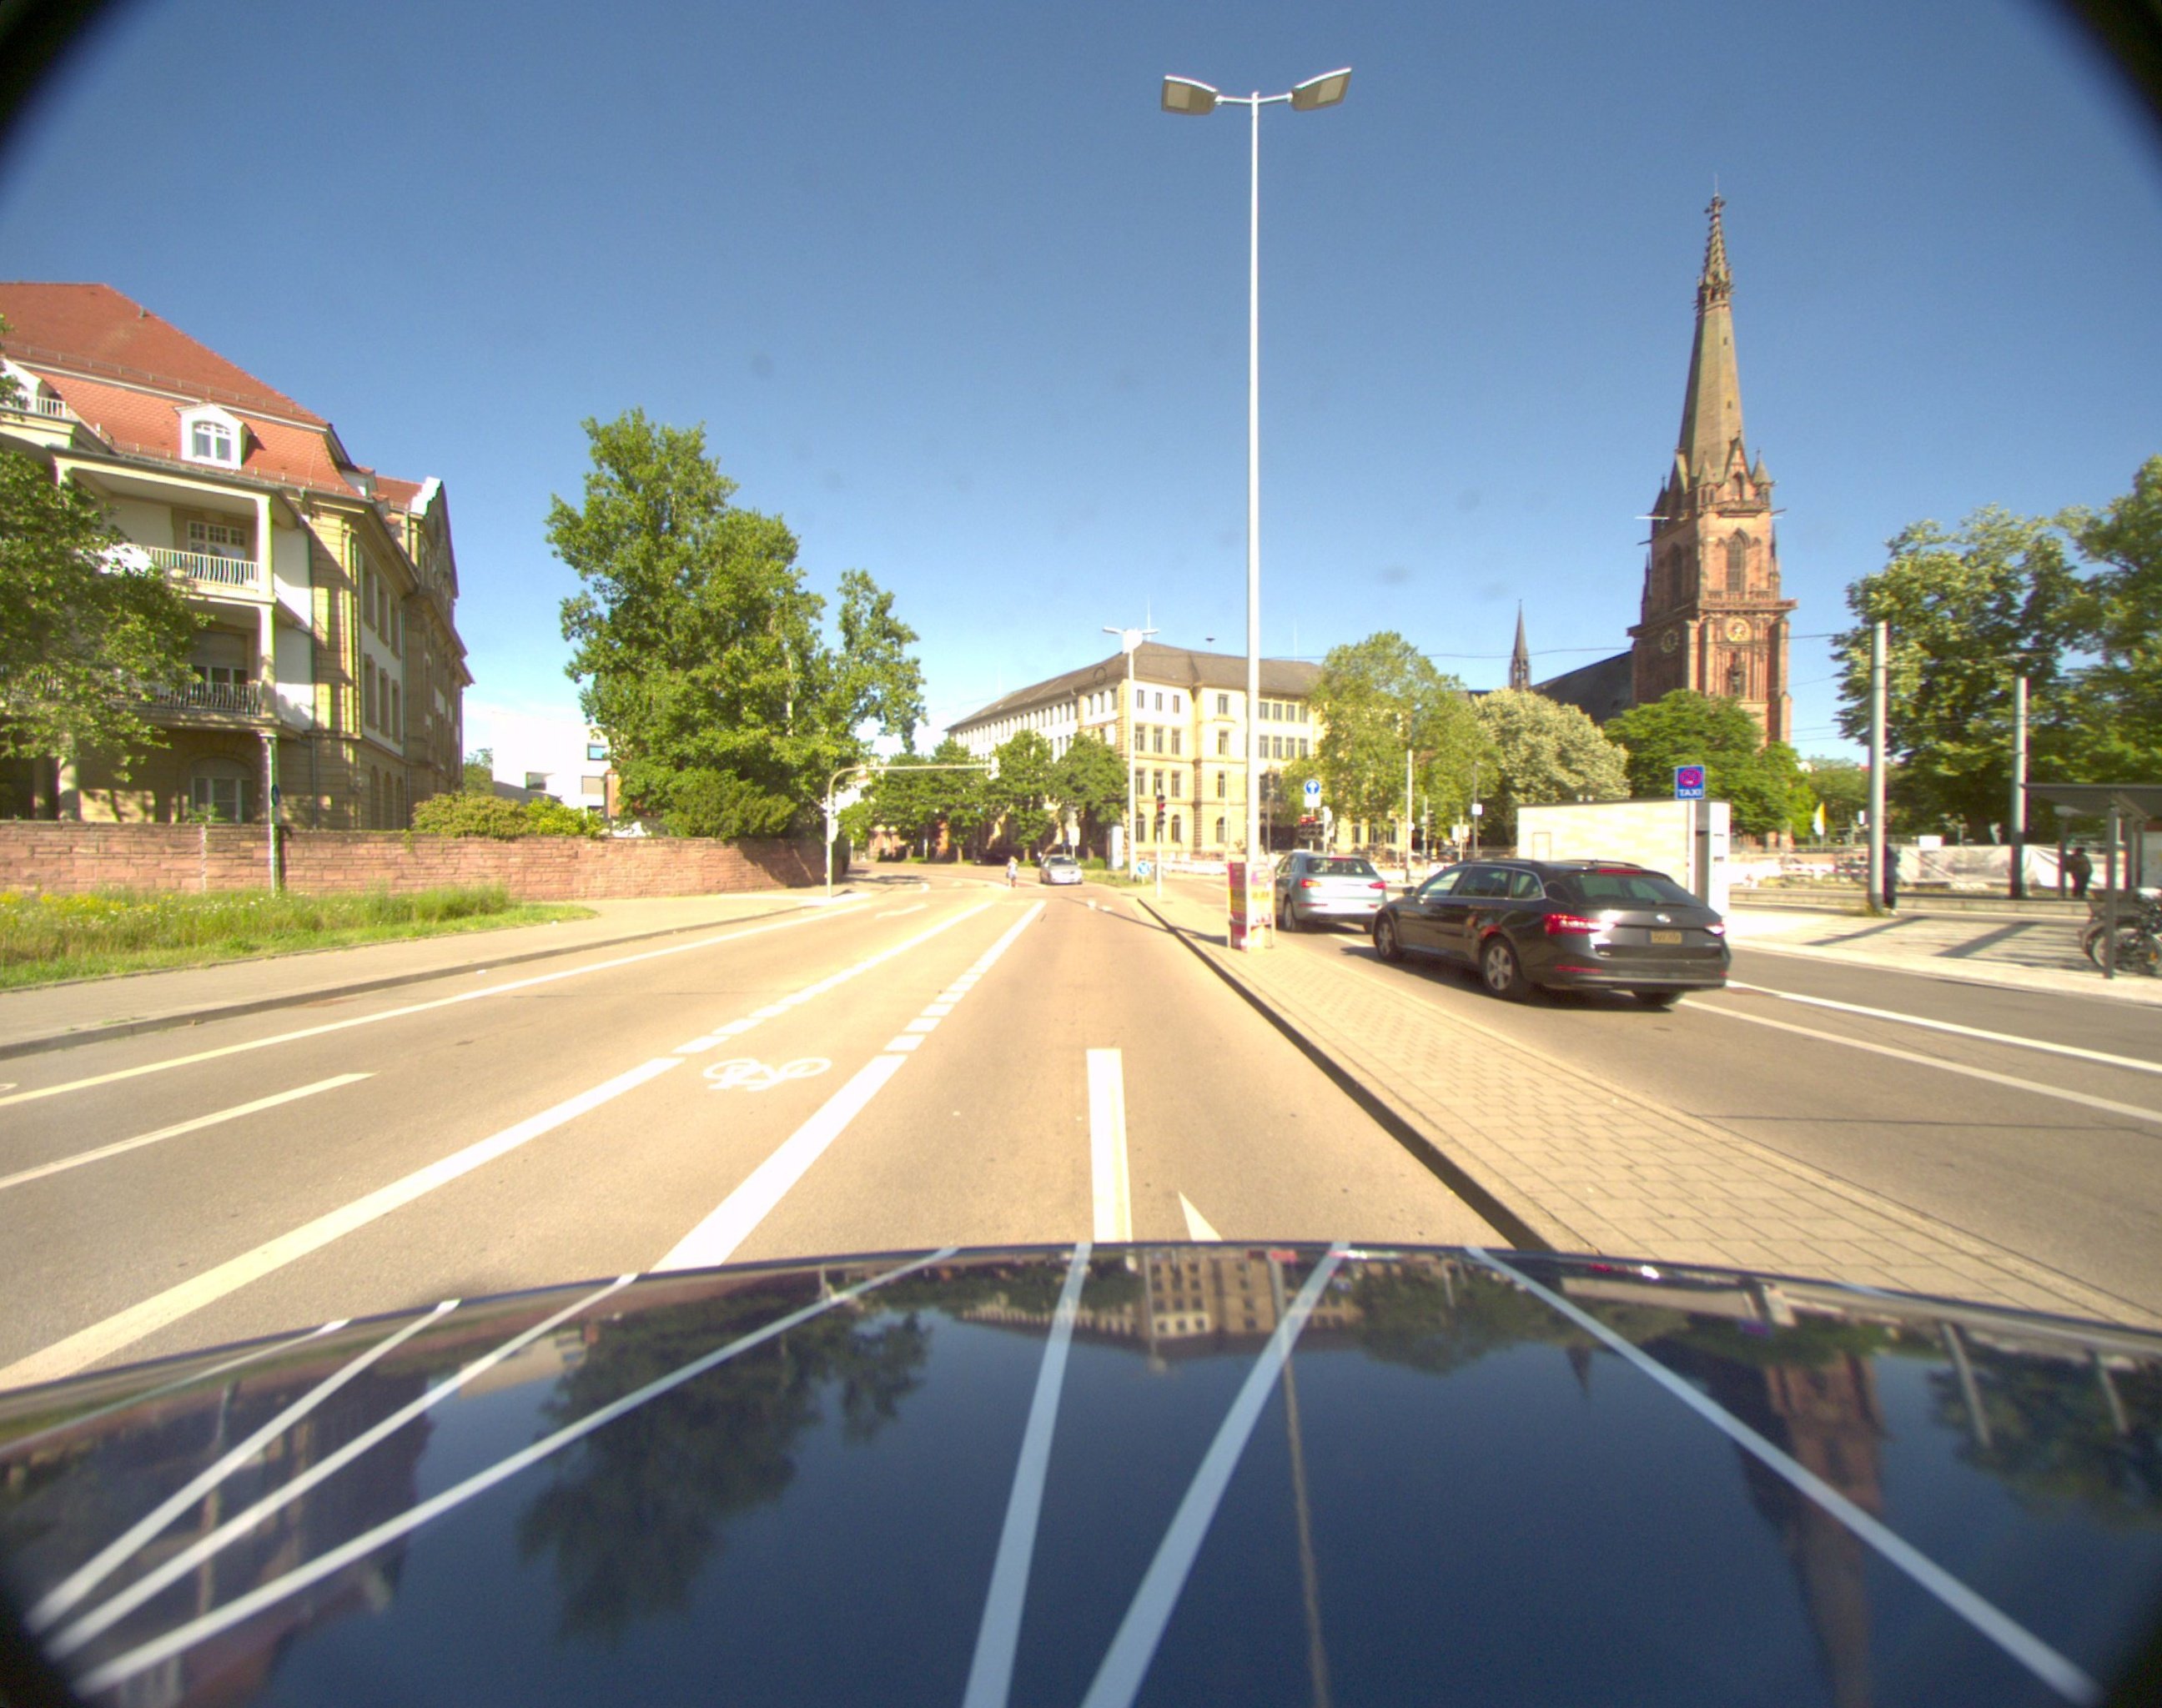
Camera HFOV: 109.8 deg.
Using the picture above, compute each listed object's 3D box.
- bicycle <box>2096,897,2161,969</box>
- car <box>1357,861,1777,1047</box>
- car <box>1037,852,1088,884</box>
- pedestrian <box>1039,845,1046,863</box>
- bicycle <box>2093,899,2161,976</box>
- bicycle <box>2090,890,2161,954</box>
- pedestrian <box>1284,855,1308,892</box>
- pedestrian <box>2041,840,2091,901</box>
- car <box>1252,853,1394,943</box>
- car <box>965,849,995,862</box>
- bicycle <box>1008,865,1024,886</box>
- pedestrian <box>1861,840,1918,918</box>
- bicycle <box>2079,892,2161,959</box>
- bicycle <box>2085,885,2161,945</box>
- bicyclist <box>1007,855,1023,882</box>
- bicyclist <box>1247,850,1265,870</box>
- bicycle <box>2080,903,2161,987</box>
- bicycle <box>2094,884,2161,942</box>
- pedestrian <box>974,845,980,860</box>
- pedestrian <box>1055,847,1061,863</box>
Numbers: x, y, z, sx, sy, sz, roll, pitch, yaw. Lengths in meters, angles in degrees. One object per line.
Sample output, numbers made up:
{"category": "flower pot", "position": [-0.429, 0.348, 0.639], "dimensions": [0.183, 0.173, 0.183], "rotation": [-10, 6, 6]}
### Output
{"category": "bicycle", "position": [16.124, 1.187, 10.988], "dimensions": [0.407, 0.993, 1.678], "rotation": [-3, 3, -33]}
{"category": "car", "position": [5.065, 0.889, 8.957], "dimensions": [1.818, 1.496, 4.784], "rotation": [2, 0, 0]}
{"category": "car", "position": [-1.086, 0.718, 41.560], "dimensions": [2.000, 1.580, 4.847], "rotation": [-3, 1, -10]}
{"category": "pedestrian", "position": [-4.414, -0.019, 87.576], "dimensions": [0.557, 2.002, 0.645], "rotation": [-1, 1, -37]}
{"category": "bicycle", "position": [15.025, 1.170, 10.197], "dimensions": [0.407, 0.993, 1.678], "rotation": [-3, 3, -33]}
{"category": "bicycle", "position": [17.960, 1.142, 12.448], "dimensions": [0.407, 0.993, 1.679], "rotation": [-3, 2, -33]}
{"category": "pedestrian", "position": [9.661, 0.867, 34.120], "dimensions": [0.934, 1.657, 0.629], "rotation": [-1, 1, -37]}
{"category": "pedestrian", "position": [30.610, 0.506, 23.615], "dimensions": [0.619, 1.849, 0.703], "rotation": [0, 1, 11]}
{"category": "car", "position": [4.805, 0.784, 15.720], "dimensions": [1.791, 1.572, 4.259], "rotation": [1, 0, 4]}
{"category": "car", "position": [-12.088, 0.143, 90.508], "dimensions": [1.839, 1.587, 3.989], "rotation": [-1, 1, -37]}
{"category": "bicycle", "position": [-3.432, 1.123, 39.743], "dimensions": [0.741, 0.989, 2.305], "rotation": [-2, 1, -6]}
{"category": "pedestrian", "position": [19.538, 0.598, 18.382], "dimensions": [0.701, 1.849, 0.621], "rotation": [0, 1, 13]}
{"category": "bicycle", "position": [17.180, 1.146, 12.001], "dimensions": [0.407, 0.993, 1.679], "rotation": [-3, 2, -33]}
{"category": "bicycle", "position": [19.023, 1.088, 13.326], "dimensions": [0.407, 0.993, 1.679], "rotation": [-3, 2, -33]}
{"category": "bicyclist", "position": [-3.454, 0.749, 39.752], "dimensions": [0.741, 1.363, 0.626], "rotation": [-2, 1, -6]}
{"category": "bicyclist", "position": [13.239, 0.435, 57.475], "dimensions": [1.141, 1.531, 0.684], "rotation": [0, 1, 36]}
{"category": "bicycle", "position": [13.980, 1.192, 9.540], "dimensions": [0.407, 0.993, 1.678], "rotation": [-3, 3, -33]}
{"category": "bicycle", "position": [19.509, 1.069, 13.568], "dimensions": [0.407, 0.993, 1.679], "rotation": [-3, 2, -33]}
{"category": "pedestrian", "position": [-13.387, -0.191, 97.782], "dimensions": [0.578, 1.893, 0.781], "rotation": [-1, 1, -36]}
{"category": "pedestrian", "position": [-2.533, 0.093, 83.718], "dimensions": [0.540, 1.710, 0.545], "rotation": [-1, 1, -37]}
